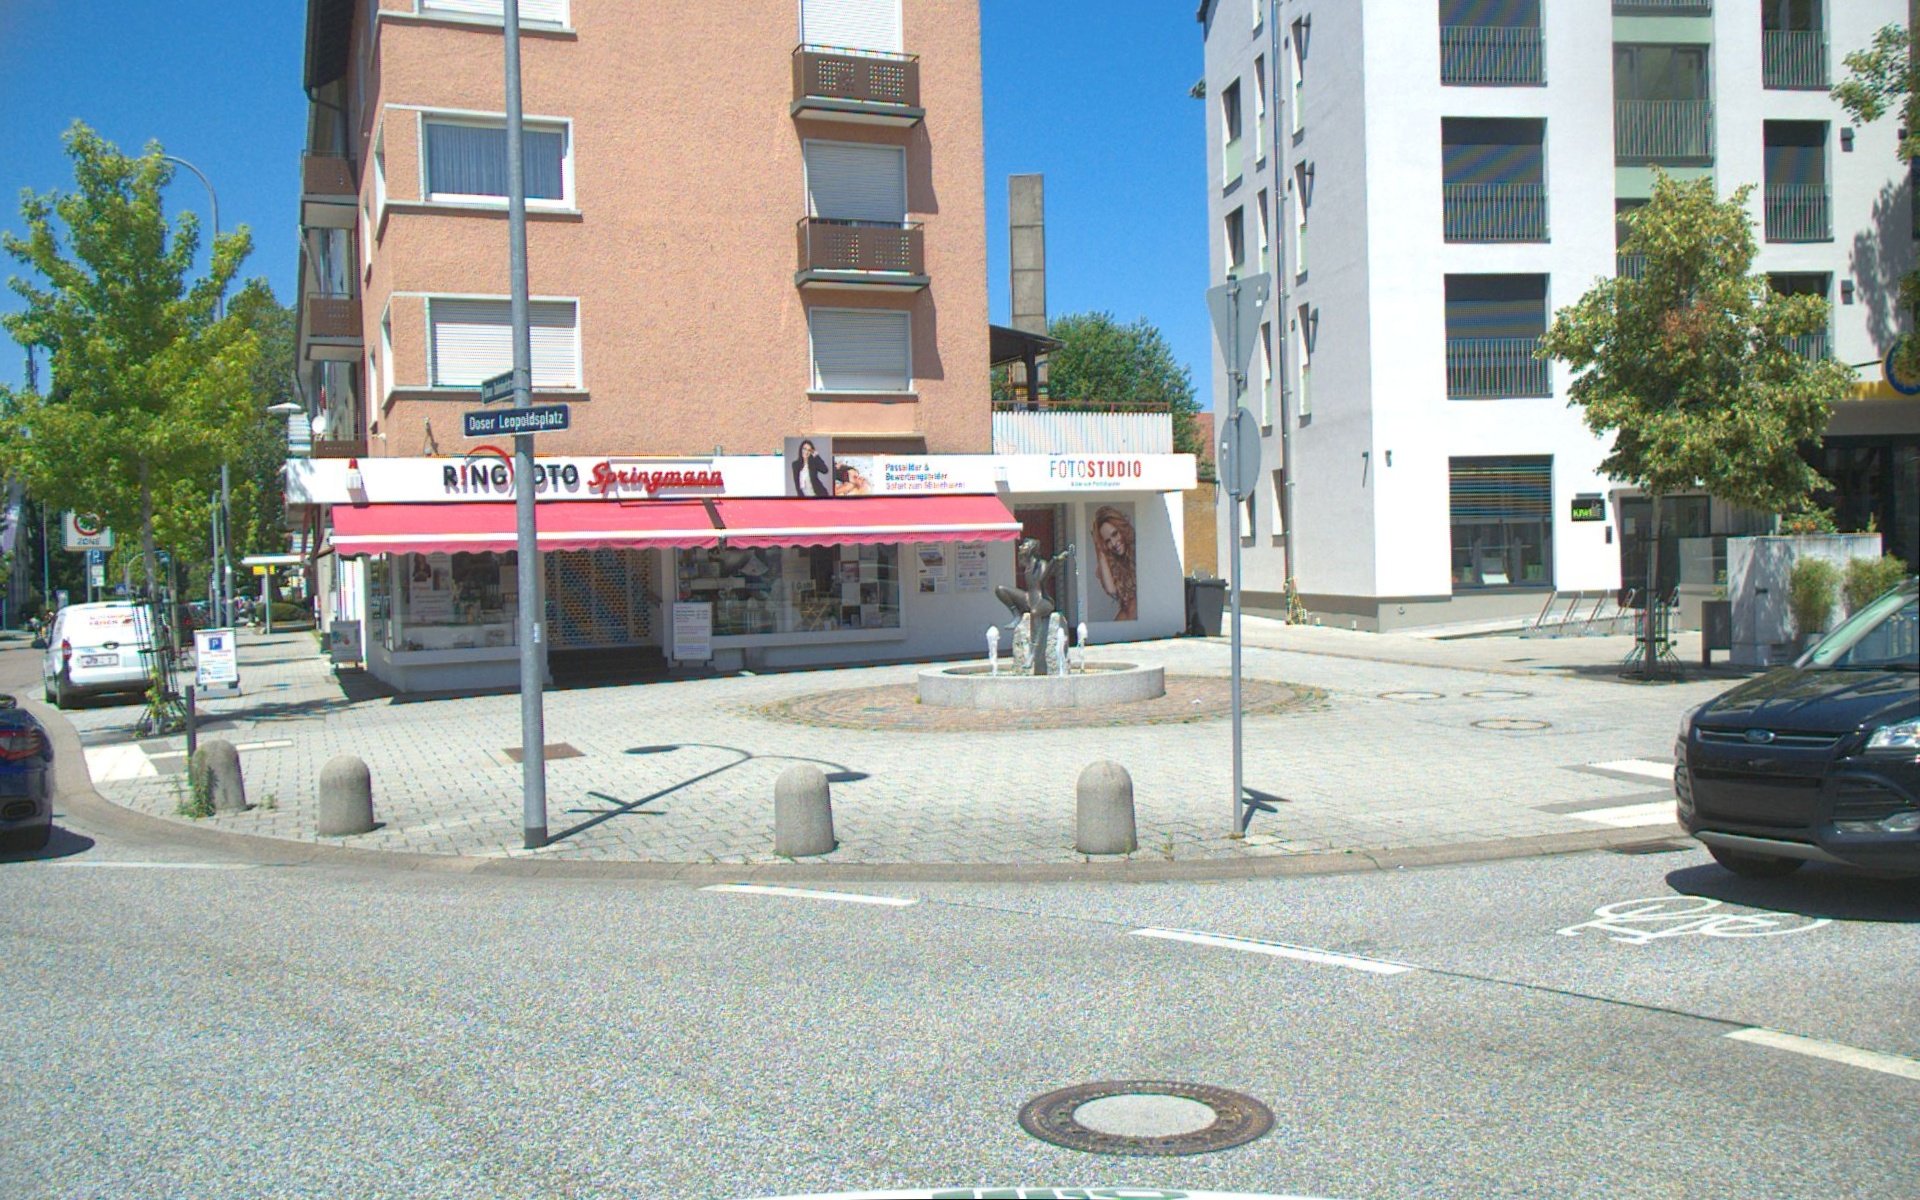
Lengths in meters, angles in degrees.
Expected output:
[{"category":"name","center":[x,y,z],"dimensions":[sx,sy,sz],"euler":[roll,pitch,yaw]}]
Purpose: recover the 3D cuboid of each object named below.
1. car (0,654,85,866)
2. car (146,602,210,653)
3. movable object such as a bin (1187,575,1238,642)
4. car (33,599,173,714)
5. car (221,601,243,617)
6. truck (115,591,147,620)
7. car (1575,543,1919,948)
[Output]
[{"category":"car","center":[-8.377,1.143,12.504],"dimensions":[1.967,1.423,4.552],"euler":[1,-2,-44]},{"category":"car","center":[-33.197,1.140,70.314],"dimensions":[1.965,1.829,4.541],"euler":[-4,3,-21]},{"category":"movable object such as a bin","center":[4.692,0.152,30.730],"dimensions":[0.744,1.175,0.773],"euler":[-3,3,-5]},{"category":"car","center":[-15.023,0.938,28.899],"dimensions":[1.731,1.754,3.866],"euler":[-5,2,-33]},{"category":"car","center":[-72.600,0.891,164.980],"dimensions":[1.925,1.501,4.108],"euler":[-4,2,-23]},{"category":"truck","center":[-67.042,0.450,133.856],"dimensions":[1.780,2.154,4.683],"euler":[-4,2,-22]},{"category":"car","center":[5.703,0.552,8.788],"dimensions":[4.454,1.718,1.985],"euler":[-2,0,-25]}]
